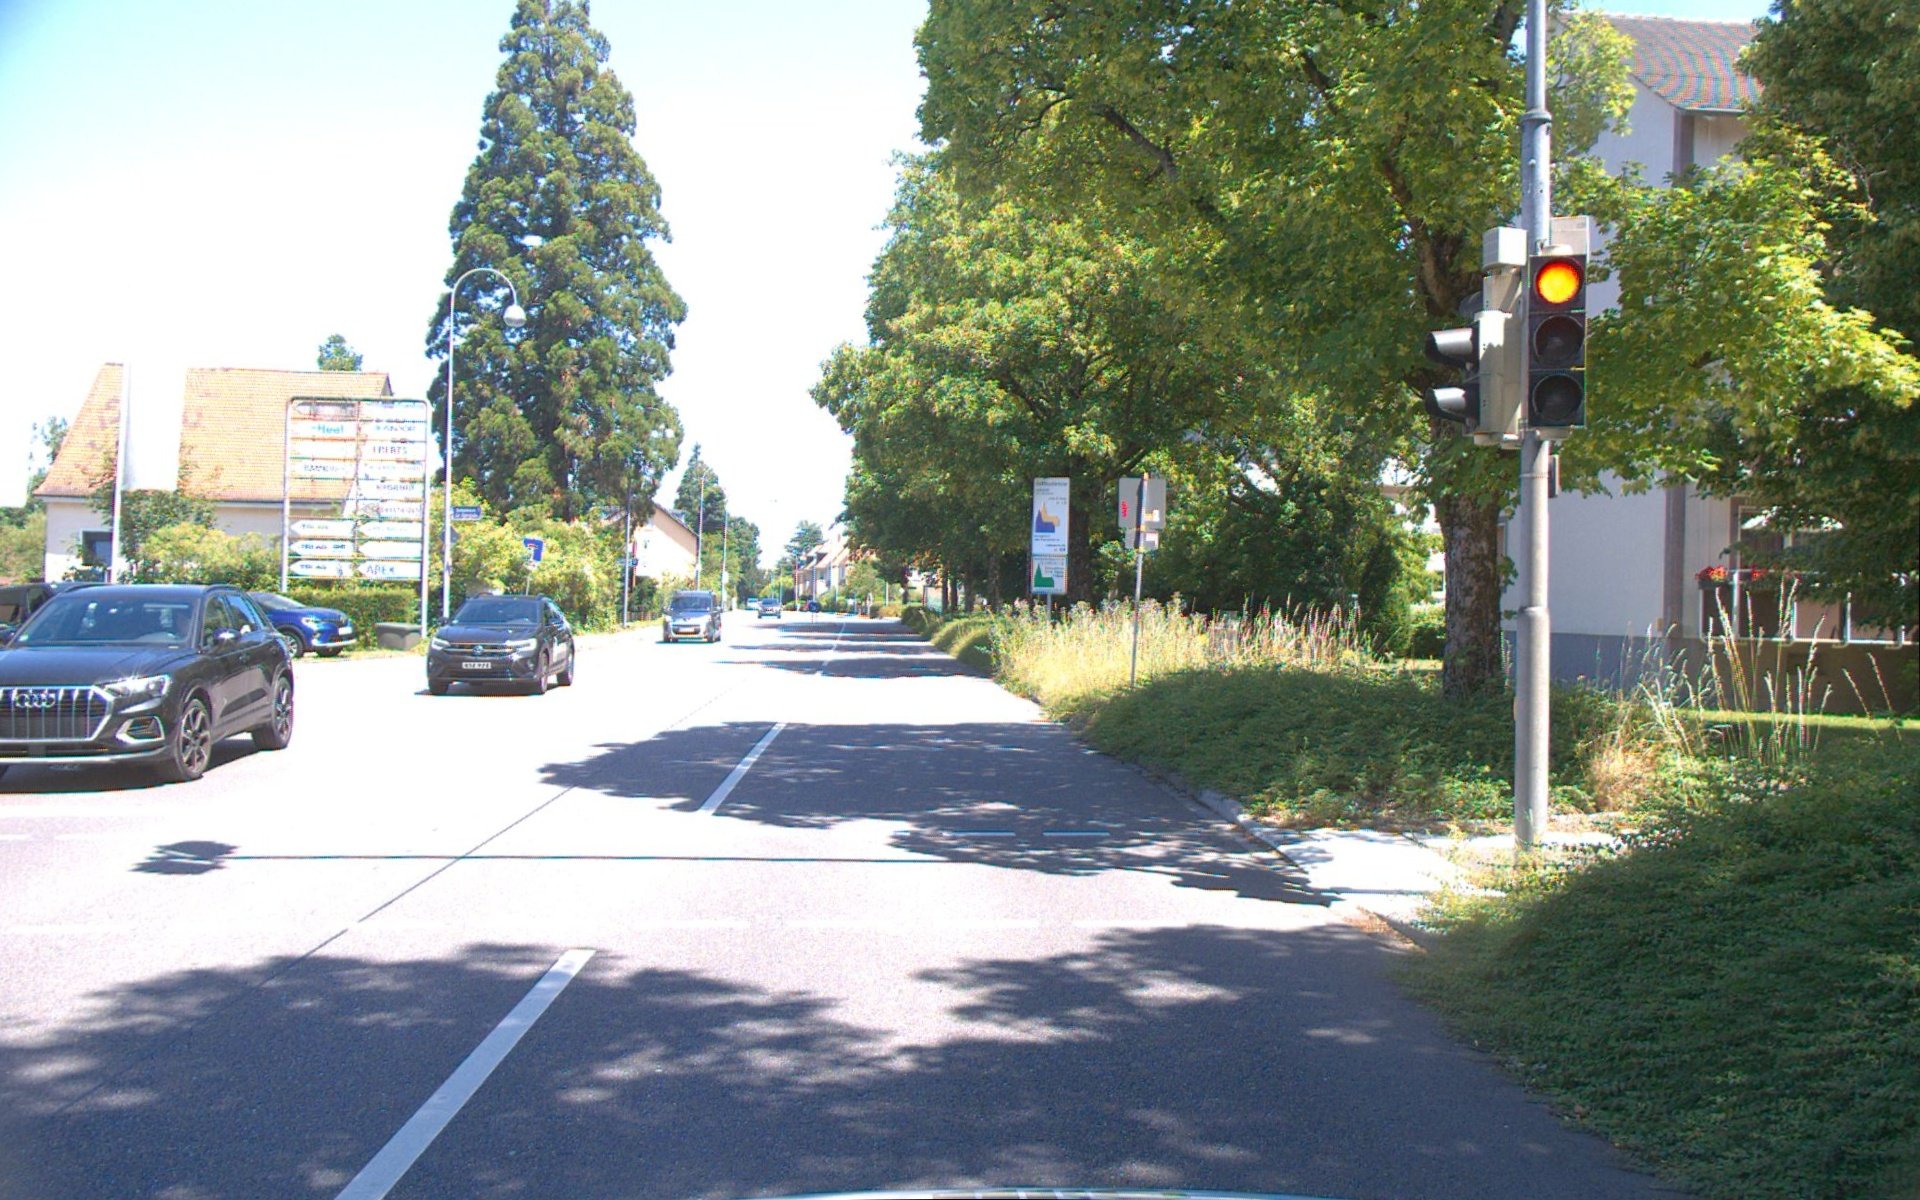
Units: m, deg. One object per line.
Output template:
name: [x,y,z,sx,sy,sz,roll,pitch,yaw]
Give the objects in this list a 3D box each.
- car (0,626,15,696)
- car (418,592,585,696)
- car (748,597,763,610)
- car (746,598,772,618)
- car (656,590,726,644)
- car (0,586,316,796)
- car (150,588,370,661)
car: [-24.741,1.530,40.070,1.775,1.752,4.081,1,0,-8]
car: [-7.217,0.656,26.440,1.832,1.533,4.049,0,0,-5]
car: [-28.530,0.500,230.934,1.647,1.713,3.998,0,0,-2]
car: [-16.026,0.663,132.262,1.758,1.563,4.312,1,0,-3]
car: [-9.307,0.563,57.562,1.774,1.793,4.569,1,0,-1]
car: [-7.258,0.687,14.659,1.890,1.582,4.295,0,0,-8]
car: [-15.191,0.512,35.995,4.047,1.531,1.779,0,0,8]
